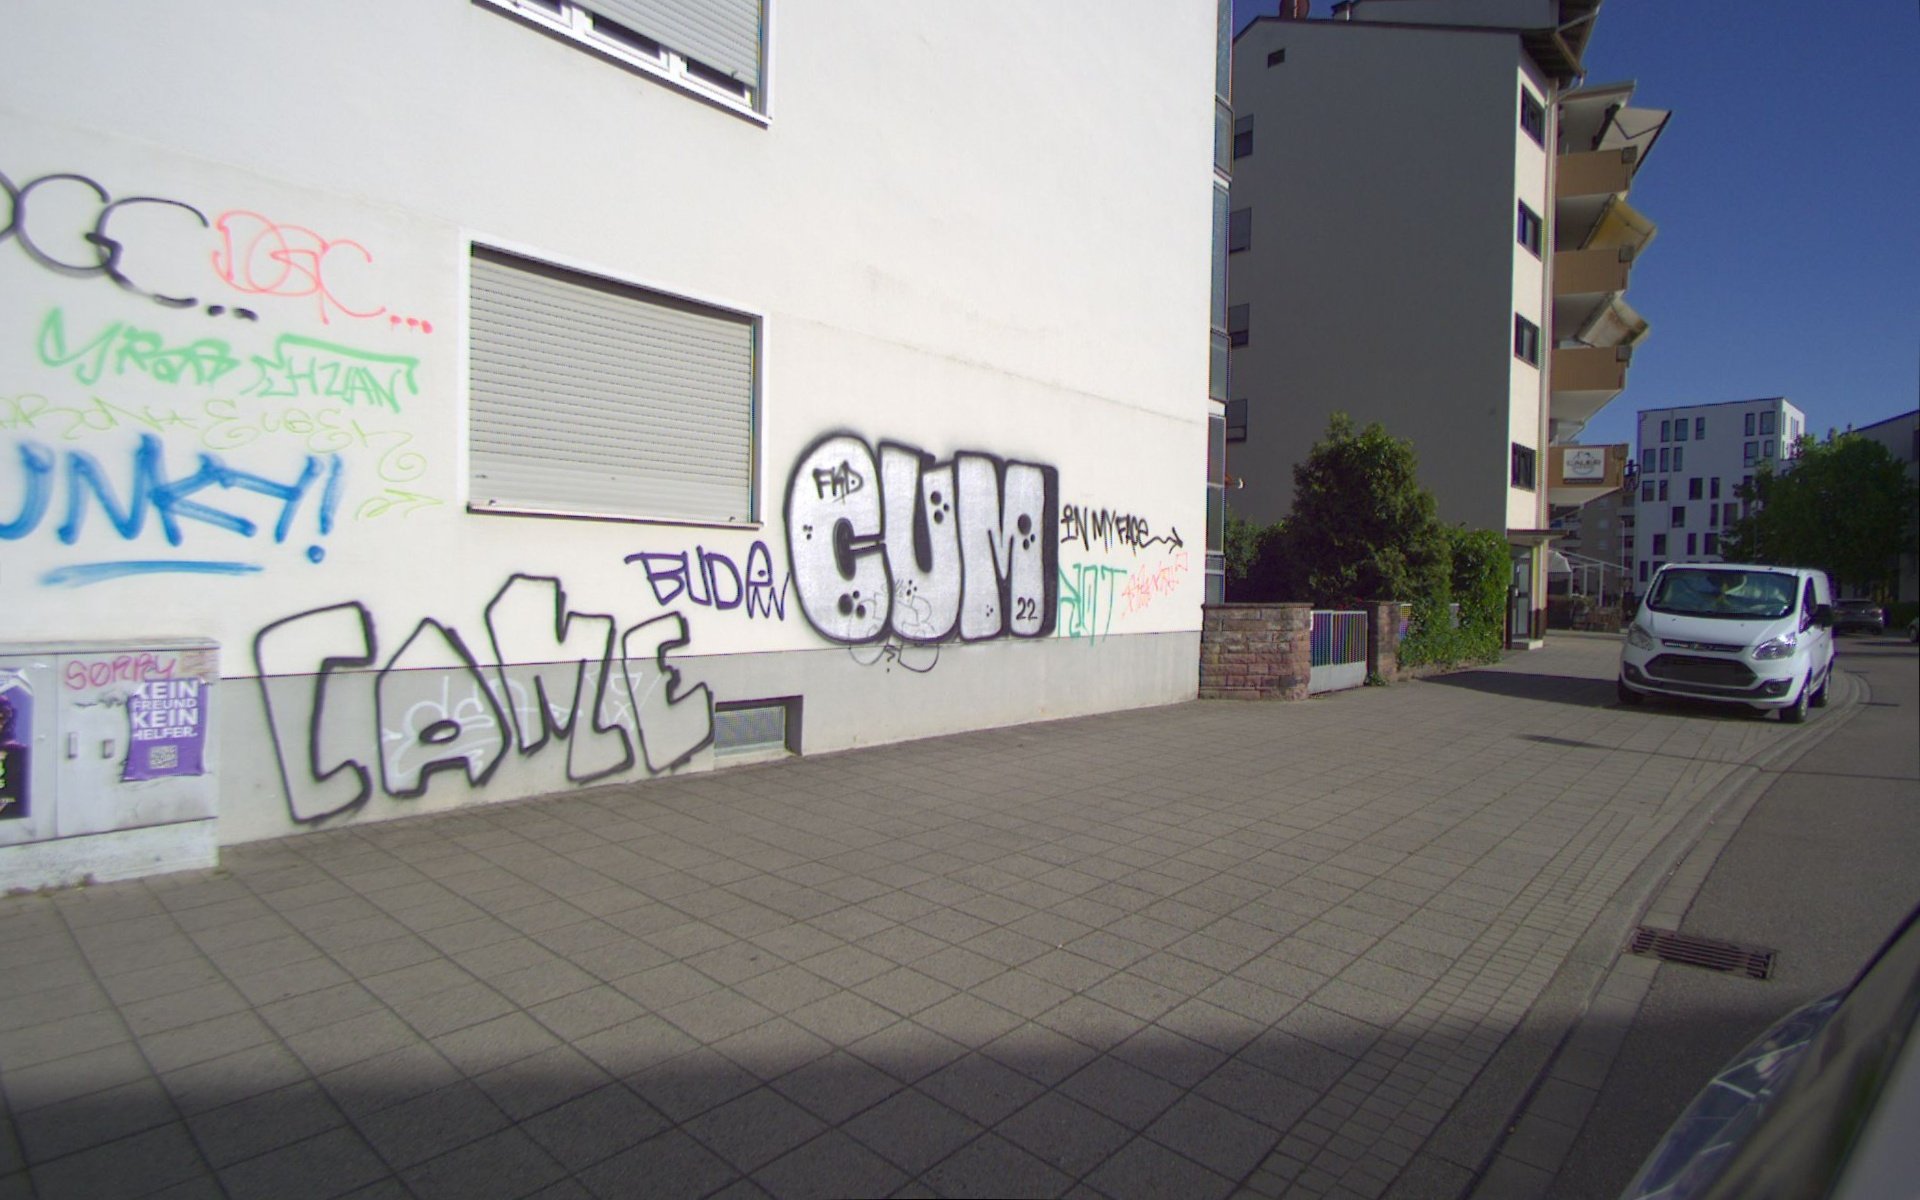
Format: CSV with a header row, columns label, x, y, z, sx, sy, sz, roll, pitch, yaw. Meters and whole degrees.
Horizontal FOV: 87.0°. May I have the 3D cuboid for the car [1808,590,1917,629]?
label,x,y,z,sx,sy,sz,roll,pitch,yaw
car,40.068,0.393,45.087,2.115,1.634,4.798,0,0,23

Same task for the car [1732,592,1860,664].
label,x,y,z,sx,sy,sz,roll,pitch,yaw
car,19.976,0.602,24.354,1.746,1.411,3.955,6,4,32

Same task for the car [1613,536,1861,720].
label,x,y,z,sx,sy,sz,roll,pitch,yaw
car,10.813,0.287,13.932,4.719,2.038,1.996,0,4,-45

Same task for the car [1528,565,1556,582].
label,x,y,z,sx,sy,sz,roll,pitch,yaw
car,64.853,-2.914,112.863,2.115,1.758,4.798,0,0,23

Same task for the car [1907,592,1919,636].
label,x,y,z,sx,sy,sz,roll,pitch,yaw
car,36.228,0.519,35.963,2.114,1.634,4.801,0,0,21

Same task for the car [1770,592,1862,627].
label,x,y,z,sx,sy,sz,roll,pitch,yaw
car,42.179,0.419,50.004,2.115,1.634,4.798,0,0,23
